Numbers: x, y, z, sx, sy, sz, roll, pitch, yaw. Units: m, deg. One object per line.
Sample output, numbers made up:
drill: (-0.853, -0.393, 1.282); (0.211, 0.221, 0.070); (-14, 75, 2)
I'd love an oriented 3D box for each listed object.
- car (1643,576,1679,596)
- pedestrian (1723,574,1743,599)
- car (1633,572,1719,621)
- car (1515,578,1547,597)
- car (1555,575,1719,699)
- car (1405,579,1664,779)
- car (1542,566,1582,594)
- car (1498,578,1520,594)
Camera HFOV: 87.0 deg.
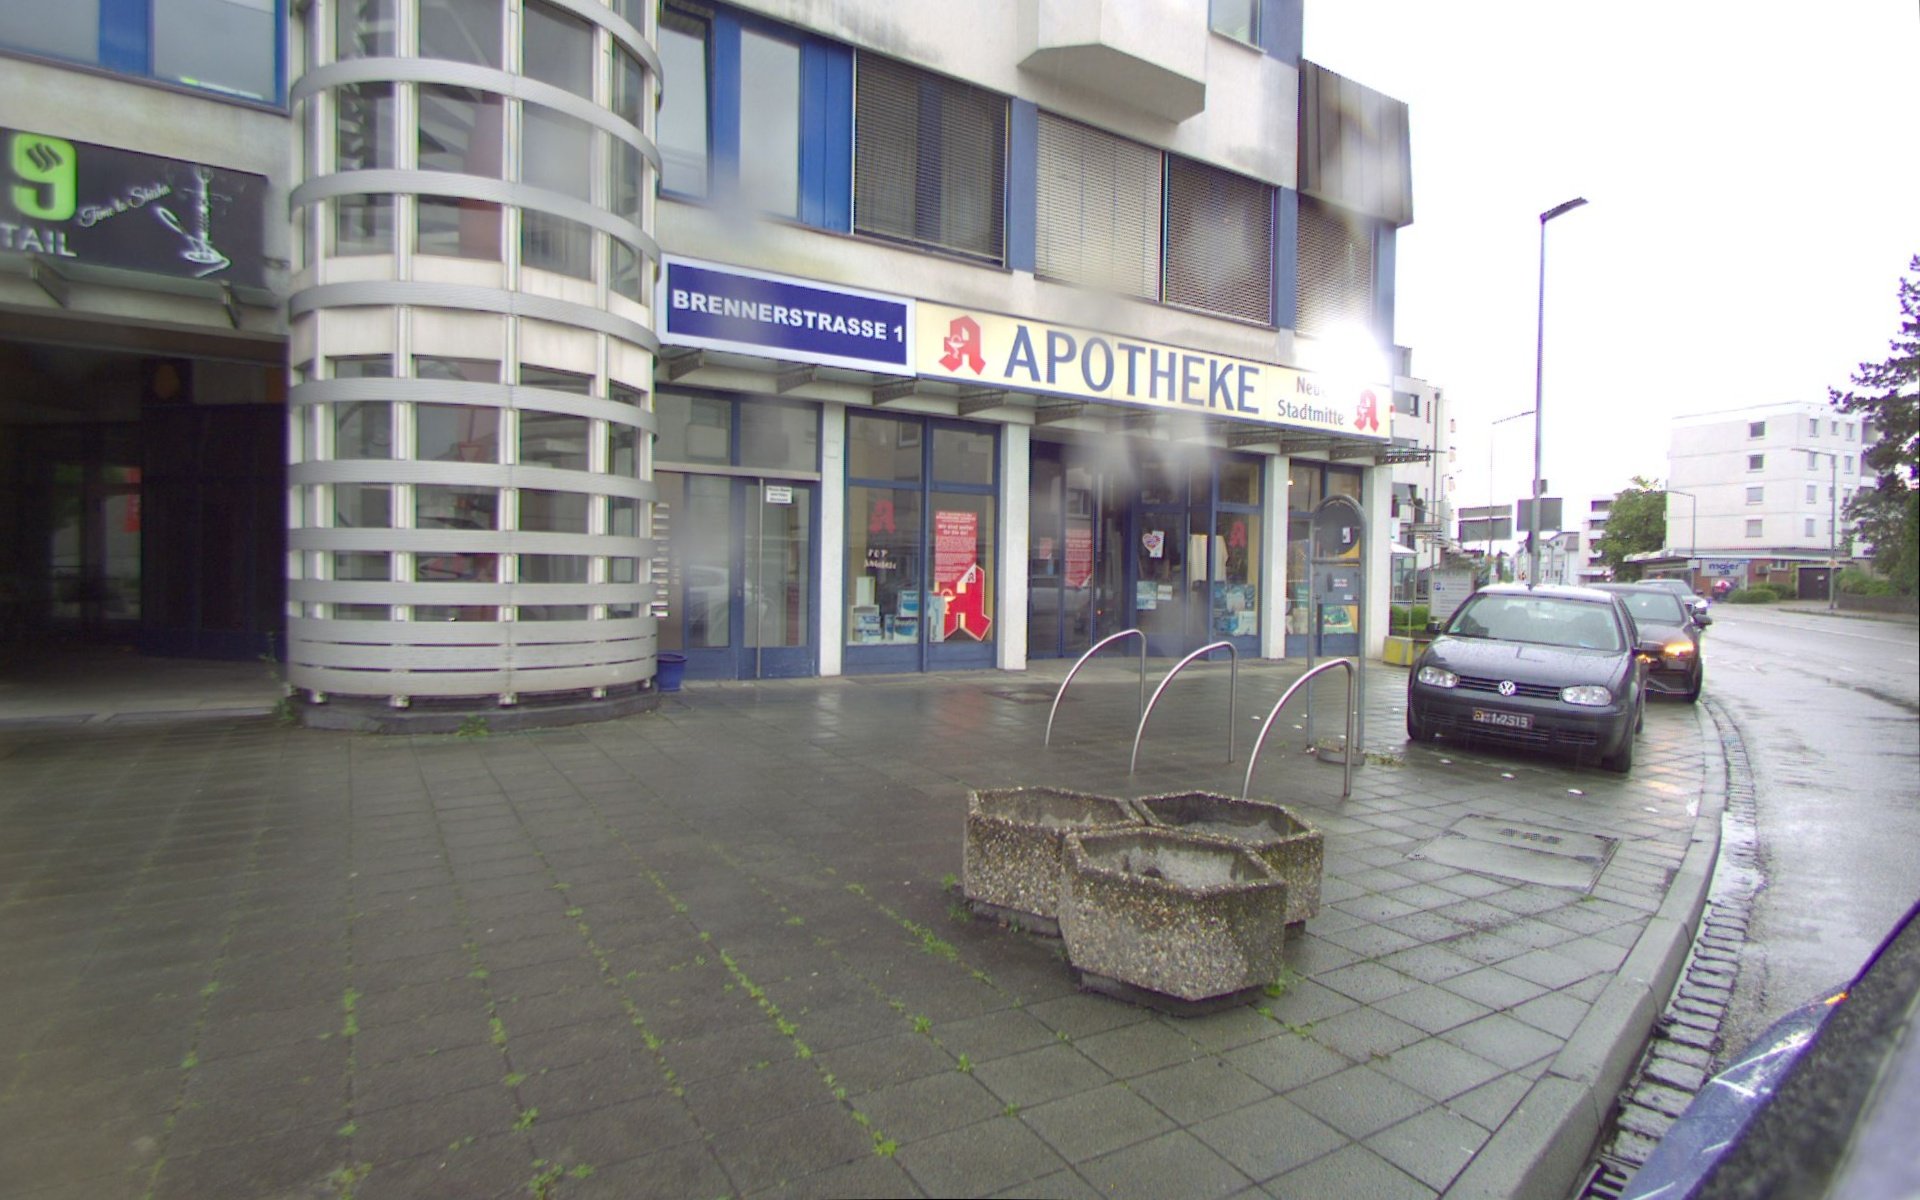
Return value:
car: (54.105, -1.112, 78.189); (1.855, 1.454, 3.704); (1, 2, 28)
pedestrian: (55.563, -0.973, 72.741); (0.845, 1.757, 0.831); (1, 2, 20)
car: (22.908, -0.165, 32.515); (1.719, 1.462, 4.009); (0, 2, 27)
car: (44.347, -0.995, 78.676); (1.783, 1.385, 3.941); (1, 3, 25)
car: (9.418, 0.394, 14.026); (1.650, 1.442, 3.949); (2, 2, 36)
car: (5.484, 0.545, 9.445); (1.646, 1.388, 3.683); (5, 4, 36)
car: (34.695, -1.131, 58.406); (1.718, 1.547, 4.024); (2, 1, 27)
car: (56.489, -1.449, 104.129); (1.982, 1.635, 3.960); (-1, 1, 29)
